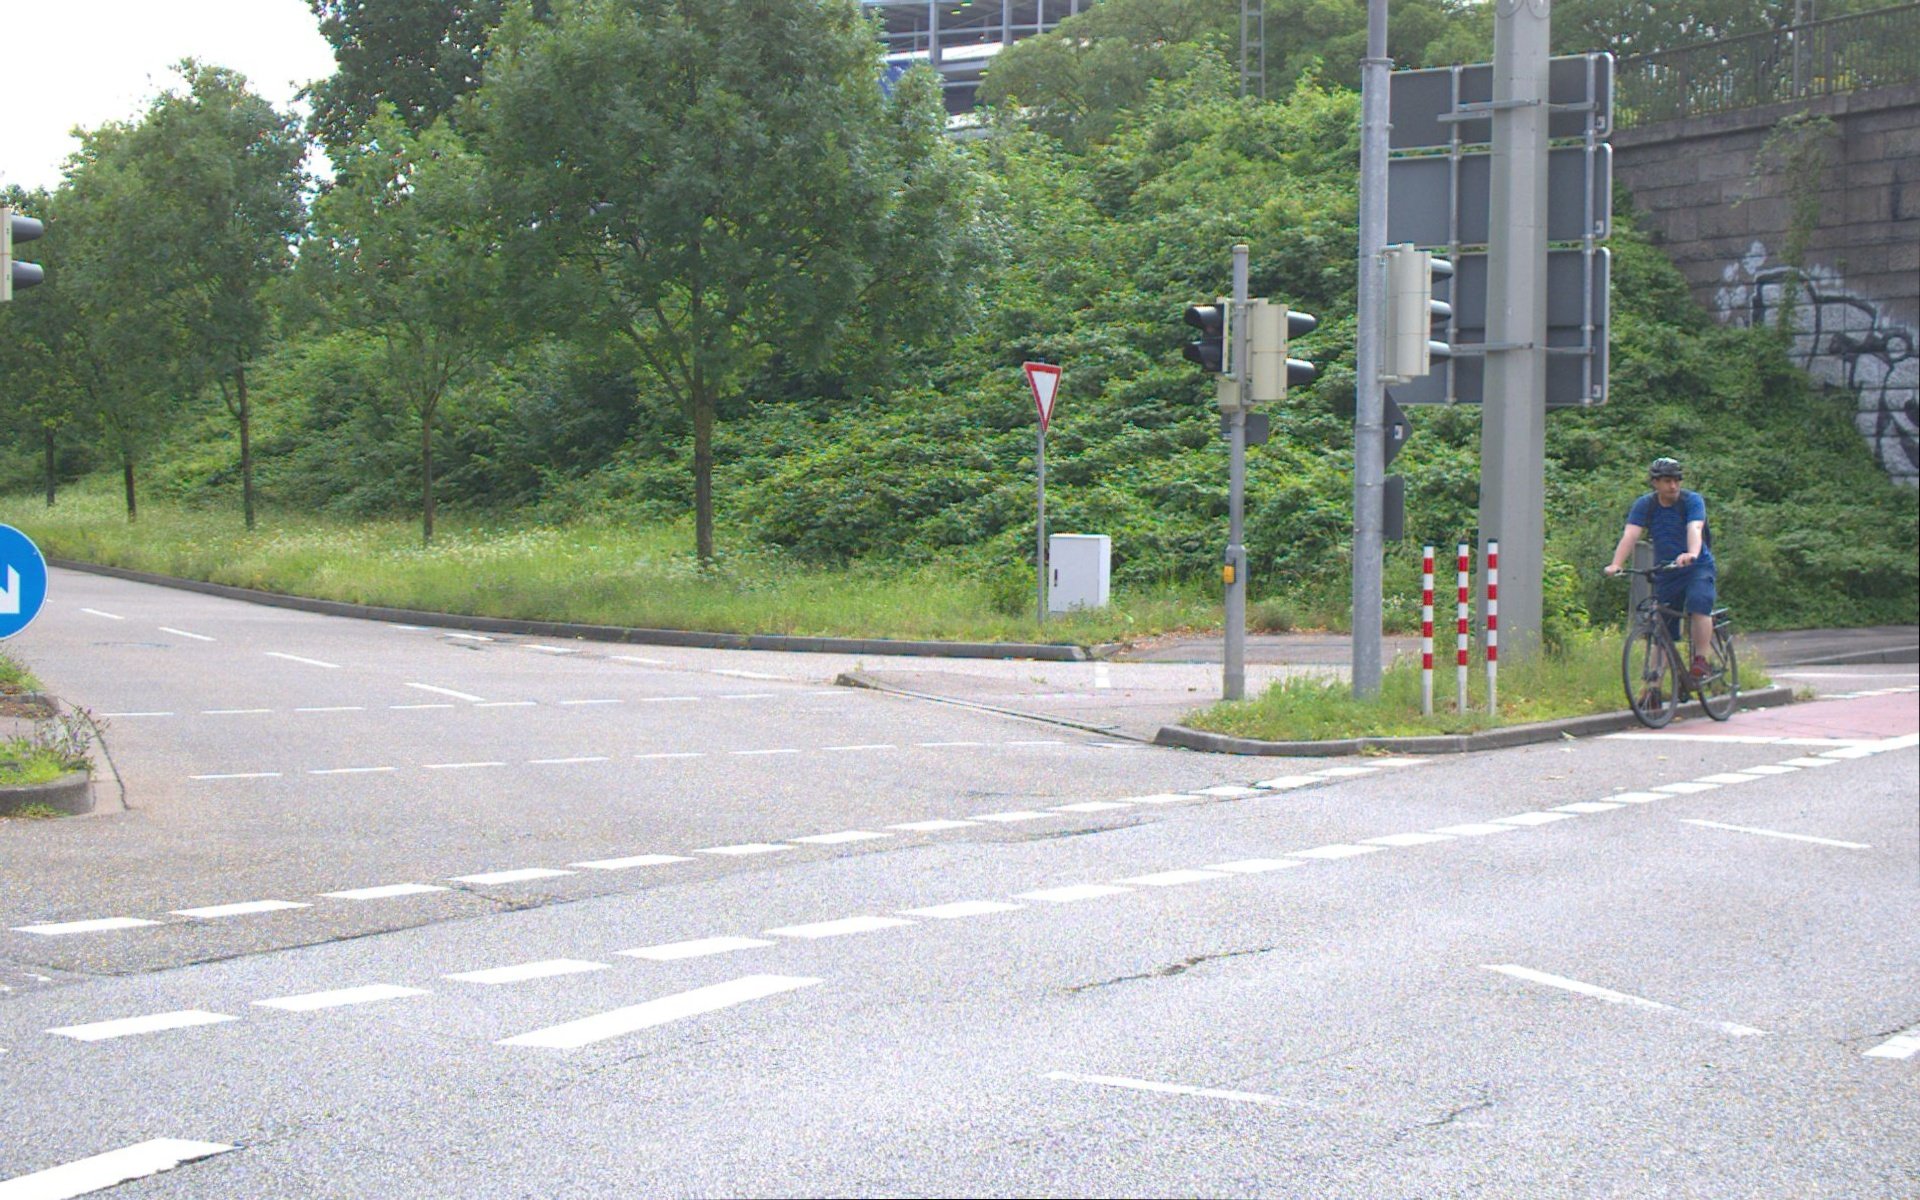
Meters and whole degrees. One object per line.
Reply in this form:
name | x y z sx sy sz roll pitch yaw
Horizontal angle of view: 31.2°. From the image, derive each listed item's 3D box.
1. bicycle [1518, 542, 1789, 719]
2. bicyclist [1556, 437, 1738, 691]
bicycle | 4.817 0.181 23.766 0.844 1.089 2.313 2 4 39
bicyclist | 4.740 -0.236 23.708 0.844 1.673 0.822 -5 -4 39
